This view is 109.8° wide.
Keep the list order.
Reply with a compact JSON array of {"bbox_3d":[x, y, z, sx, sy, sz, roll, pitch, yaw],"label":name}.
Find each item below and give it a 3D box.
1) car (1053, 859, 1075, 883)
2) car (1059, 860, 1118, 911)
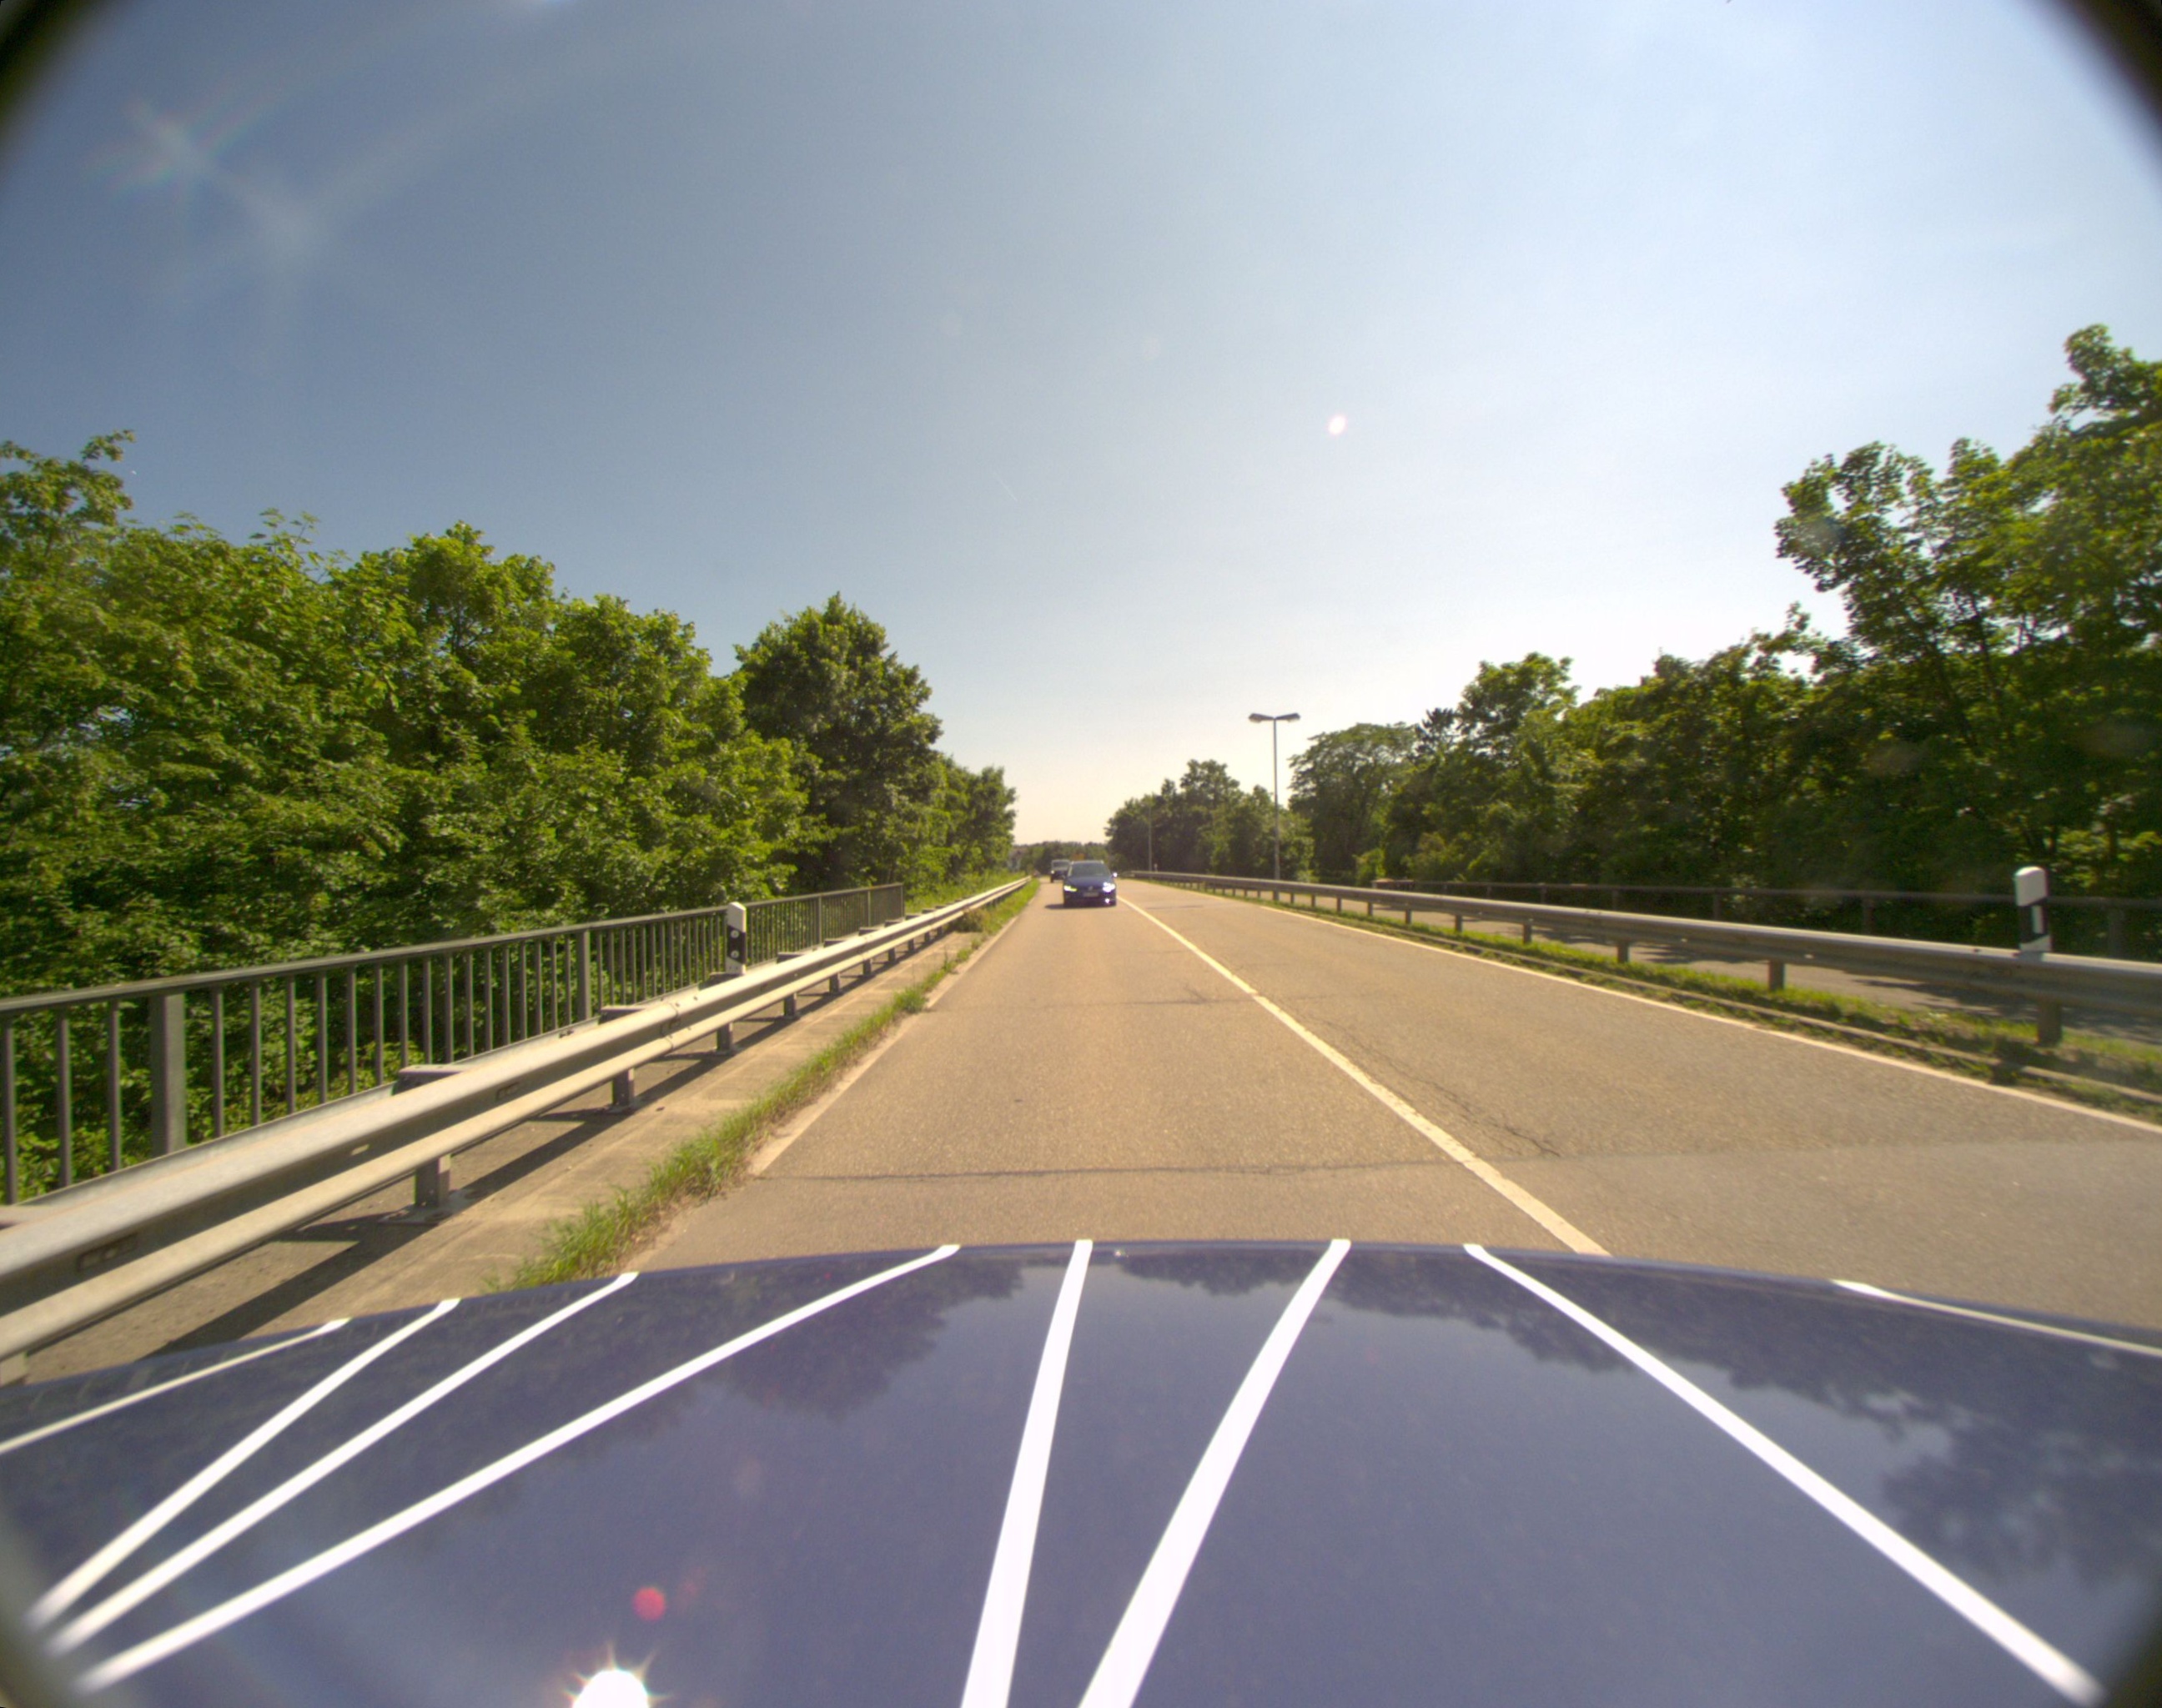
[{"bbox_3d":[-1.457,1.534,65.919,1.779,2.006,4.001,0,-2,-1],"label":"car"},{"bbox_3d":[0.224,1.033,26.533,1.828,1.591,4.195,-2,-1,-1],"label":"car"}]
